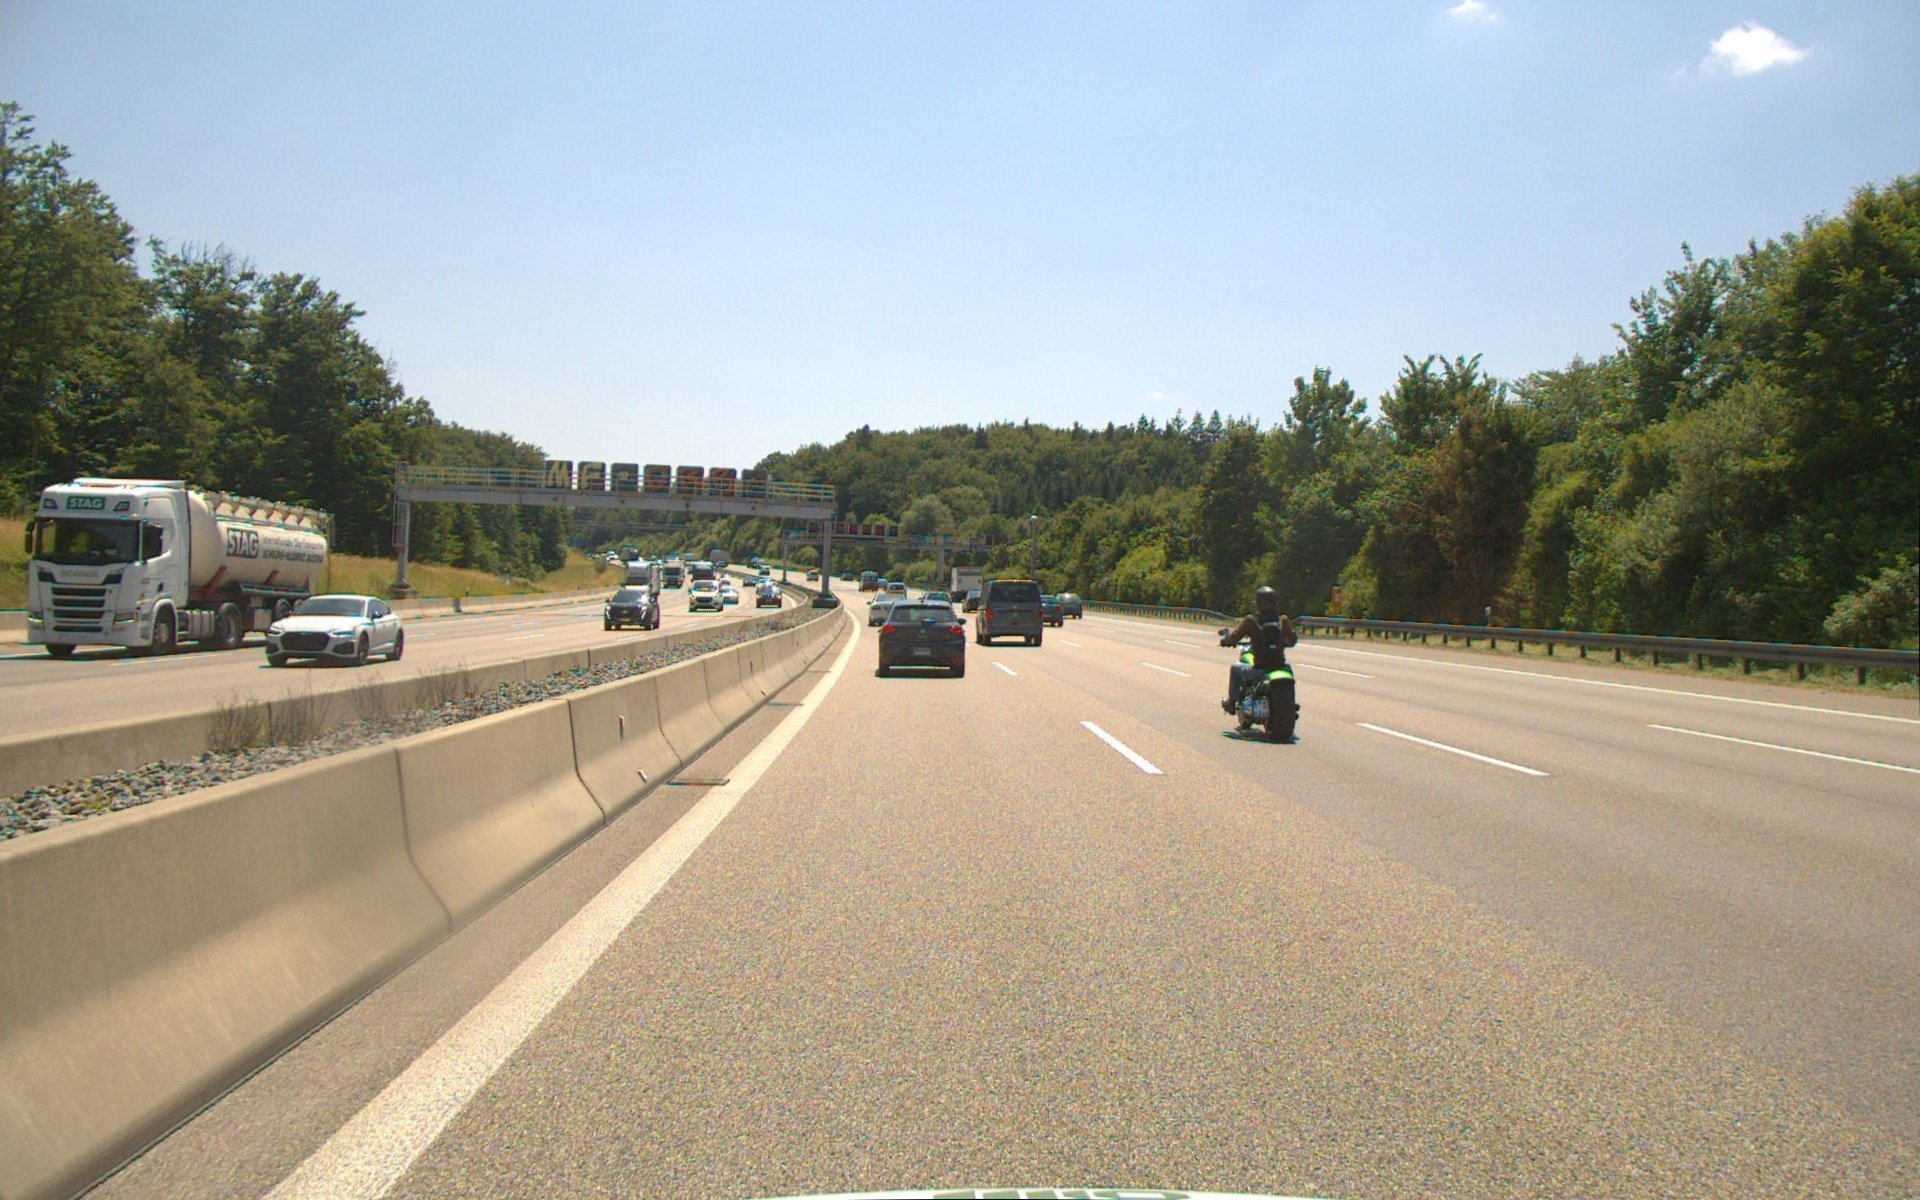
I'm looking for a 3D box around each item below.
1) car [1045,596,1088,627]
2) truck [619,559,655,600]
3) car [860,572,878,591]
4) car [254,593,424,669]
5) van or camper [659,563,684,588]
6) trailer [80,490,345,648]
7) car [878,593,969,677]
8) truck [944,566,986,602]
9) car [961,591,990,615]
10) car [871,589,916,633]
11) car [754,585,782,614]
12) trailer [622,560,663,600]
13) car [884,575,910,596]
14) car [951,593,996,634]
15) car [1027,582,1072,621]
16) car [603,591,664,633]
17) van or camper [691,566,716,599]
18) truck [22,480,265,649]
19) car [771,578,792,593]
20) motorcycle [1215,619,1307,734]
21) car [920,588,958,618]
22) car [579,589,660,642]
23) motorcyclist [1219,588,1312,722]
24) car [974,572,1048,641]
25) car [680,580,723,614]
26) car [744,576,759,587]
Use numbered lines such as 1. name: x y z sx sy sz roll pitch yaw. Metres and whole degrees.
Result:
1. car: 6.183 0.648 96.472 1.954 1.758 3.997 0 0 -4
2. truck: -26.876 -1.682 137.663 2.439 3.222 4.397 1 0 -5
3. car: -11.884 -2.430 215.514 2.219 2.412 4.700 0 1 -2
4. car: -12.933 0.606 34.810 1.954 1.485 5.043 0 0 -4
5. van or camper: -39.144 -3.308 224.491 2.711 3.180 8.084 1 -1 -6
6. trailer: -19.256 -0.668 43.547 2.599 3.597 10.487 1 -1 -3
7. car: -0.702 0.648 32.924 1.673 1.458 4.000 1 1 -1
8. truck: 0.430 -1.586 156.548 2.930 3.221 7.562 1 2 -8
9. car: 1.023 0.208 110.967 1.632 1.433 4.901 1 2 -3
10. car: -2.991 0.524 75.453 1.971 1.878 3.998 0 -2 -1
11. car: -14.217 -0.004 122.395 1.955 2.049 3.995 1 -1 -6
12. trailer: -27.318 -1.652 142.633 2.427 3.209 10.467 1 -1 -5
13. car: -5.656 -1.319 147.197 2.062 1.774 4.683 1 2 -5
14. car: 0.587 0.614 75.299 1.905 1.742 3.999 1 -1 -1
15. car: 4.187 0.072 77.810 1.812 1.758 3.999 0 0 -1
16. car: -12.750 0.466 64.782 1.642 1.553 4.608 1 -1 -3
17. van or camper: -29.009 -1.964 187.521 2.383 3.742 7.749 0 0 -6
18. truck: -19.057 -0.728 39.121 2.650 3.605 6.616 1 -1 -3
19. car: -18.579 -1.526 172.498 2.008 1.467 5.216 0 0 -4
20. motorcycle: 3.386 0.829 18.792 0.525 1.155 2.436 0 1 -2
21. car: -1.304 0.186 100.979 1.955 1.758 4.144 0 0 -6
22. car: -11.987 0.523 58.551 2.242 1.758 5.026 0 1 -5
23. motorcyclist: 3.403 0.592 18.508 0.835 1.452 1.023 0 1 -2
24. car: 1.574 0.247 52.661 1.924 2.069 5.080 1 -1 -3
25. car: -16.715 -0.207 107.125 2.152 2.091 7.134 0 0 -4
26. car: -30.547 -2.669 242.018 1.954 1.618 4.840 0 1 -5
